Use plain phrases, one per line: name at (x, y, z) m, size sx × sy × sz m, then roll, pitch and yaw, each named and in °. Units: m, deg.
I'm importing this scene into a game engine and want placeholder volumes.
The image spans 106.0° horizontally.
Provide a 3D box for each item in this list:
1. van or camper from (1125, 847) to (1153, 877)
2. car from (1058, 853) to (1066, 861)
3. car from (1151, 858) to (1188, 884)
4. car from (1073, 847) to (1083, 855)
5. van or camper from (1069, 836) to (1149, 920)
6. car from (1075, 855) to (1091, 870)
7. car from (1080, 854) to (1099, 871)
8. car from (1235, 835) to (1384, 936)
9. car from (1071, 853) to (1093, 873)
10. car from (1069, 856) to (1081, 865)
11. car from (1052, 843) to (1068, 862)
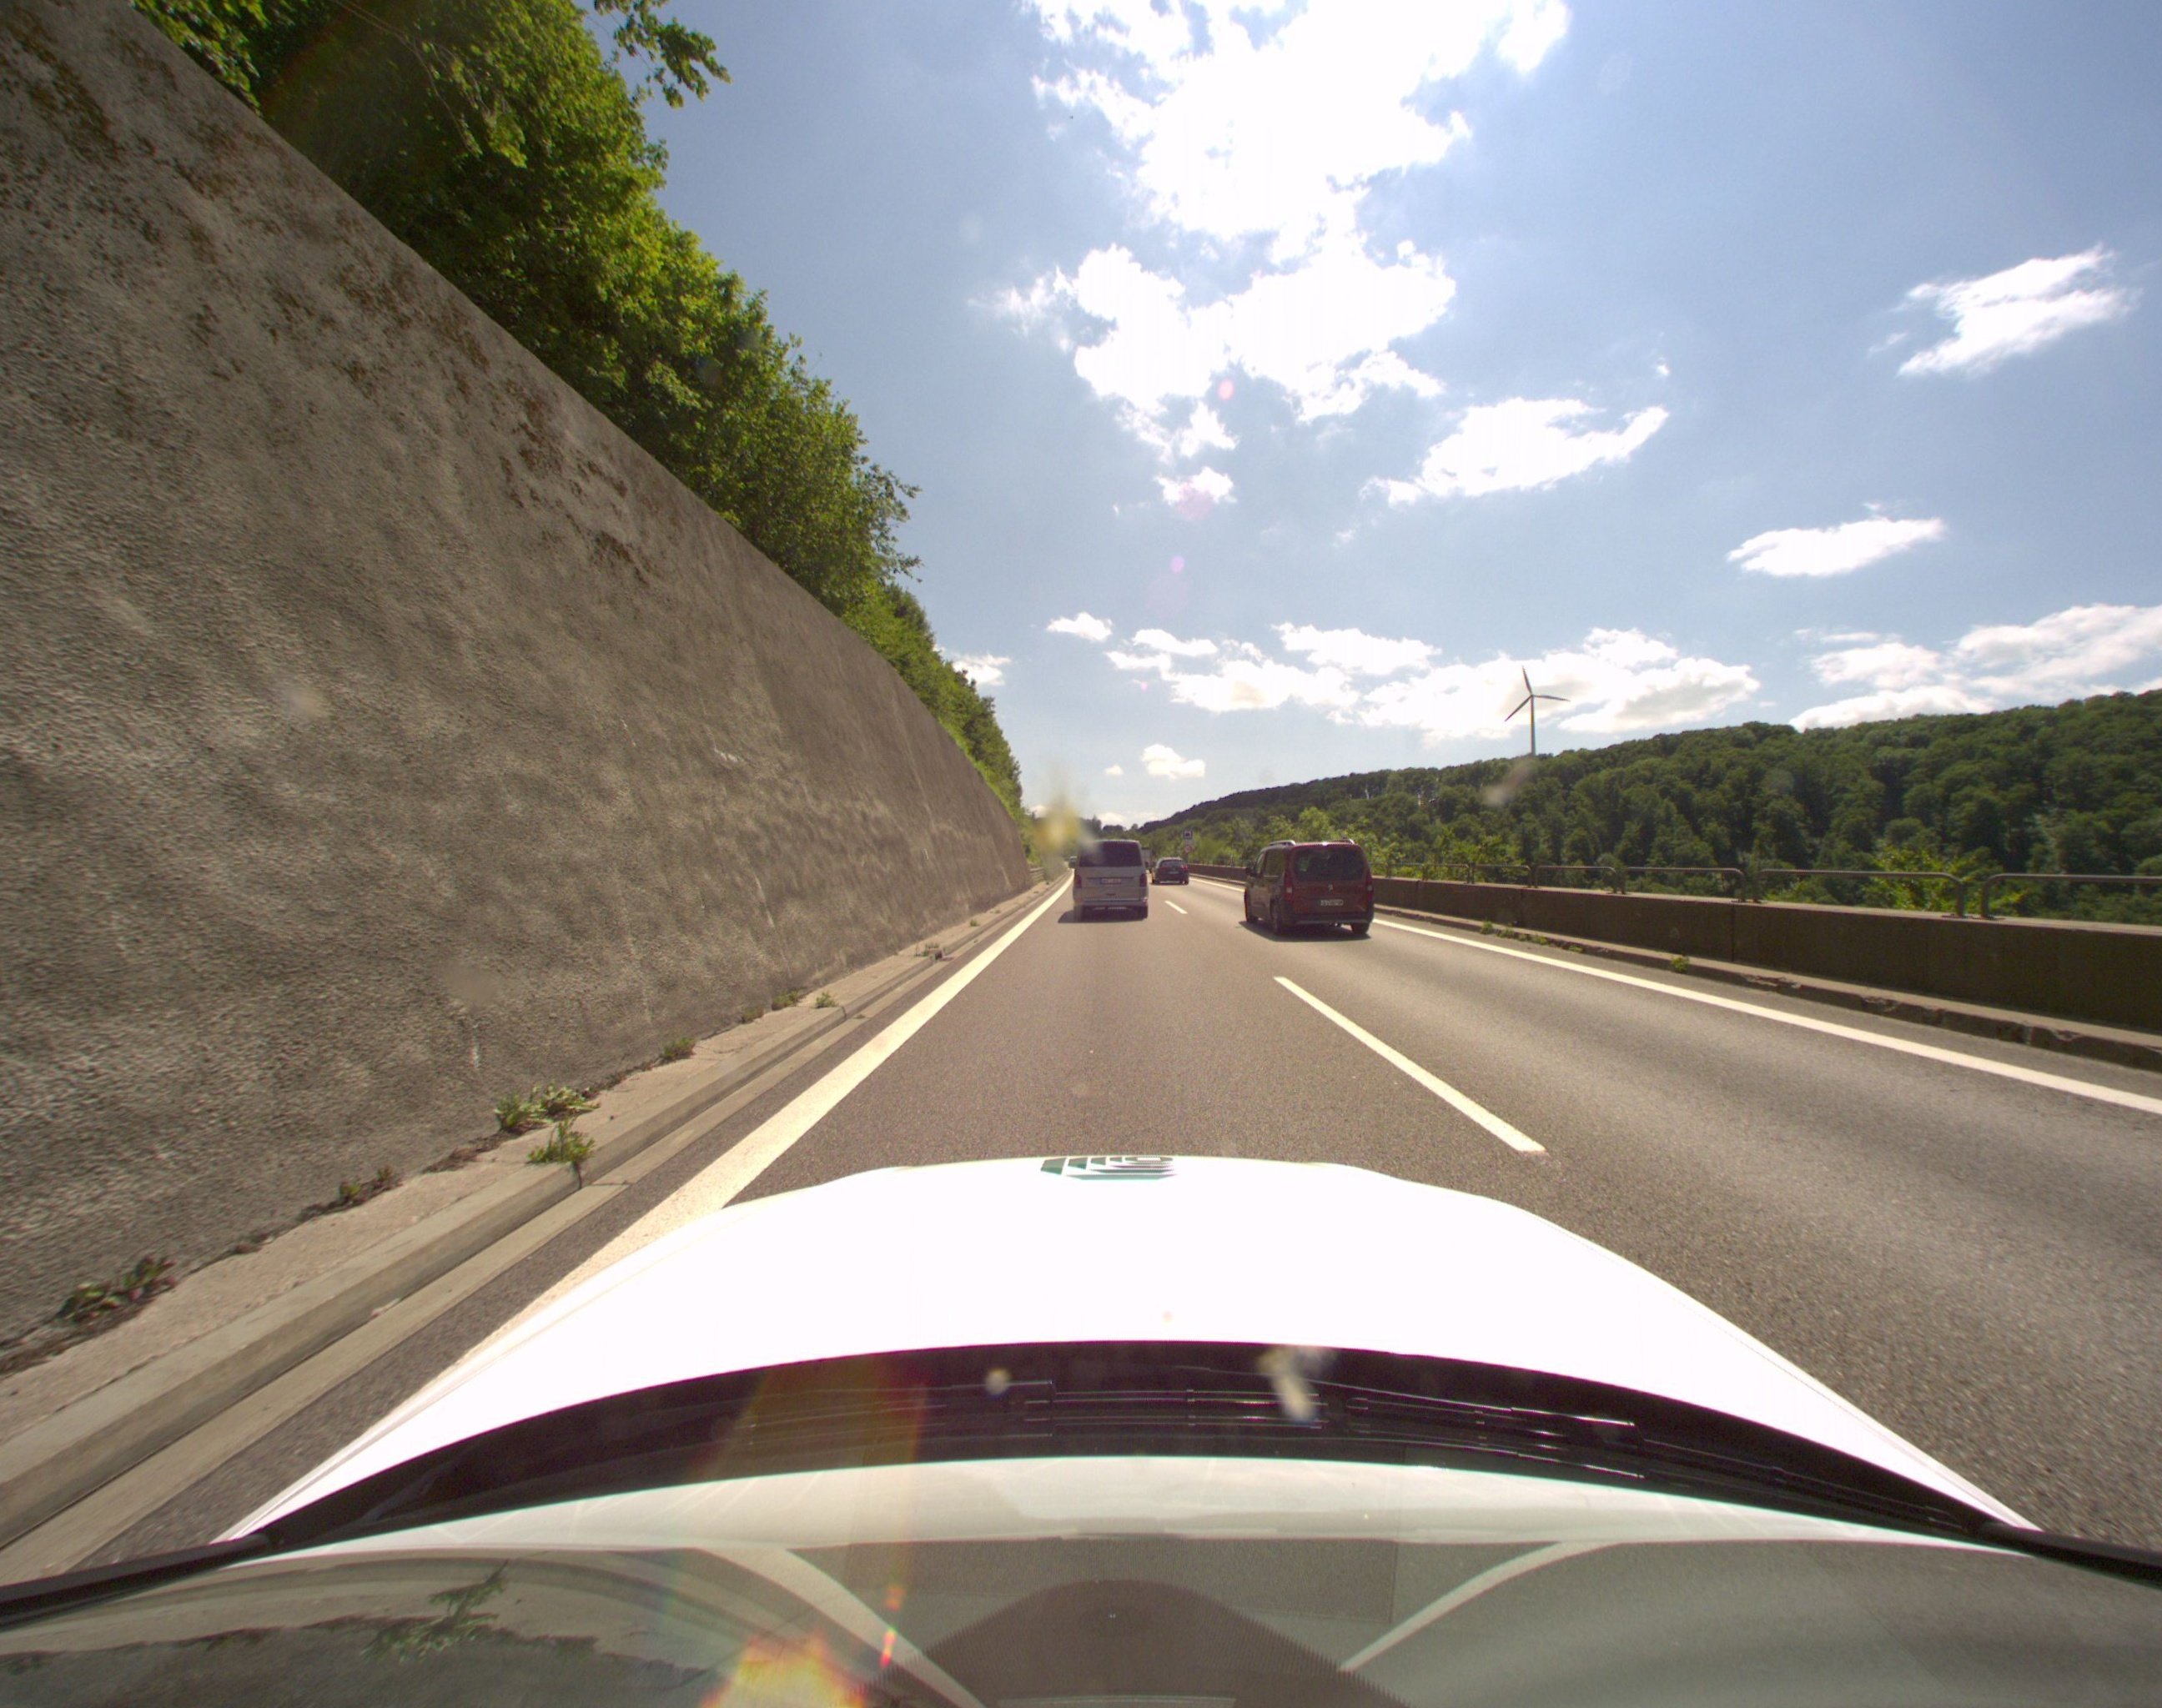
van or camper at (5.258, 0.705, 74.518) m, size 2.256 × 2.551 × 4.737 m, roll -2°, pitch -1°, yaw 1°
car at (-5.174, 0.835, 220.042) m, size 1.989 × 2.014 × 3.995 m, roll -1°, pitch 0°, yaw -3°
car at (4.857, 0.906, 44.999) m, size 1.762 × 1.376 × 3.594 m, roll -1°, pitch 0°, yaw 2°
car at (-0.717, -0.818, 204.969) m, size 1.991 × 2.014 × 3.991 m, roll -1°, pitch 0°, yaw -7°
van or camper at (0.758, 0.587, 21.674) m, size 1.868 × 1.949 × 4.296 m, roll -2°, pitch -1°, yaw 2°
car at (0.299, 1.131, 109.350) m, size 1.988 × 1.915 × 3.997 m, roll -1°, pitch 0°, yaw -2°
car at (0.923, 0.928, 90.065) m, size 1.988 × 1.817 × 3.998 m, roll -1°, pitch 0°, yaw -1°
car at (4.619, 0.607, 17.226) m, size 1.827 × 1.784 × 4.675 m, roll -1°, pitch -1°, yaw 0°
car at (0.067, 0.802, 74.302) m, size 1.988 × 1.817 × 3.998 m, roll -1°, pitch 0°, yaw -1°
car at (-1.082, 1.140, 142.428) m, size 2.137 × 1.607 × 5.075 m, roll -1°, pitch 0°, yaw -1°
car at (-5.348, -0.308, 211.594) m, size 4.032 × 4.871 × 10.103 m, roll -1°, pitch 0°, yaw -1°
